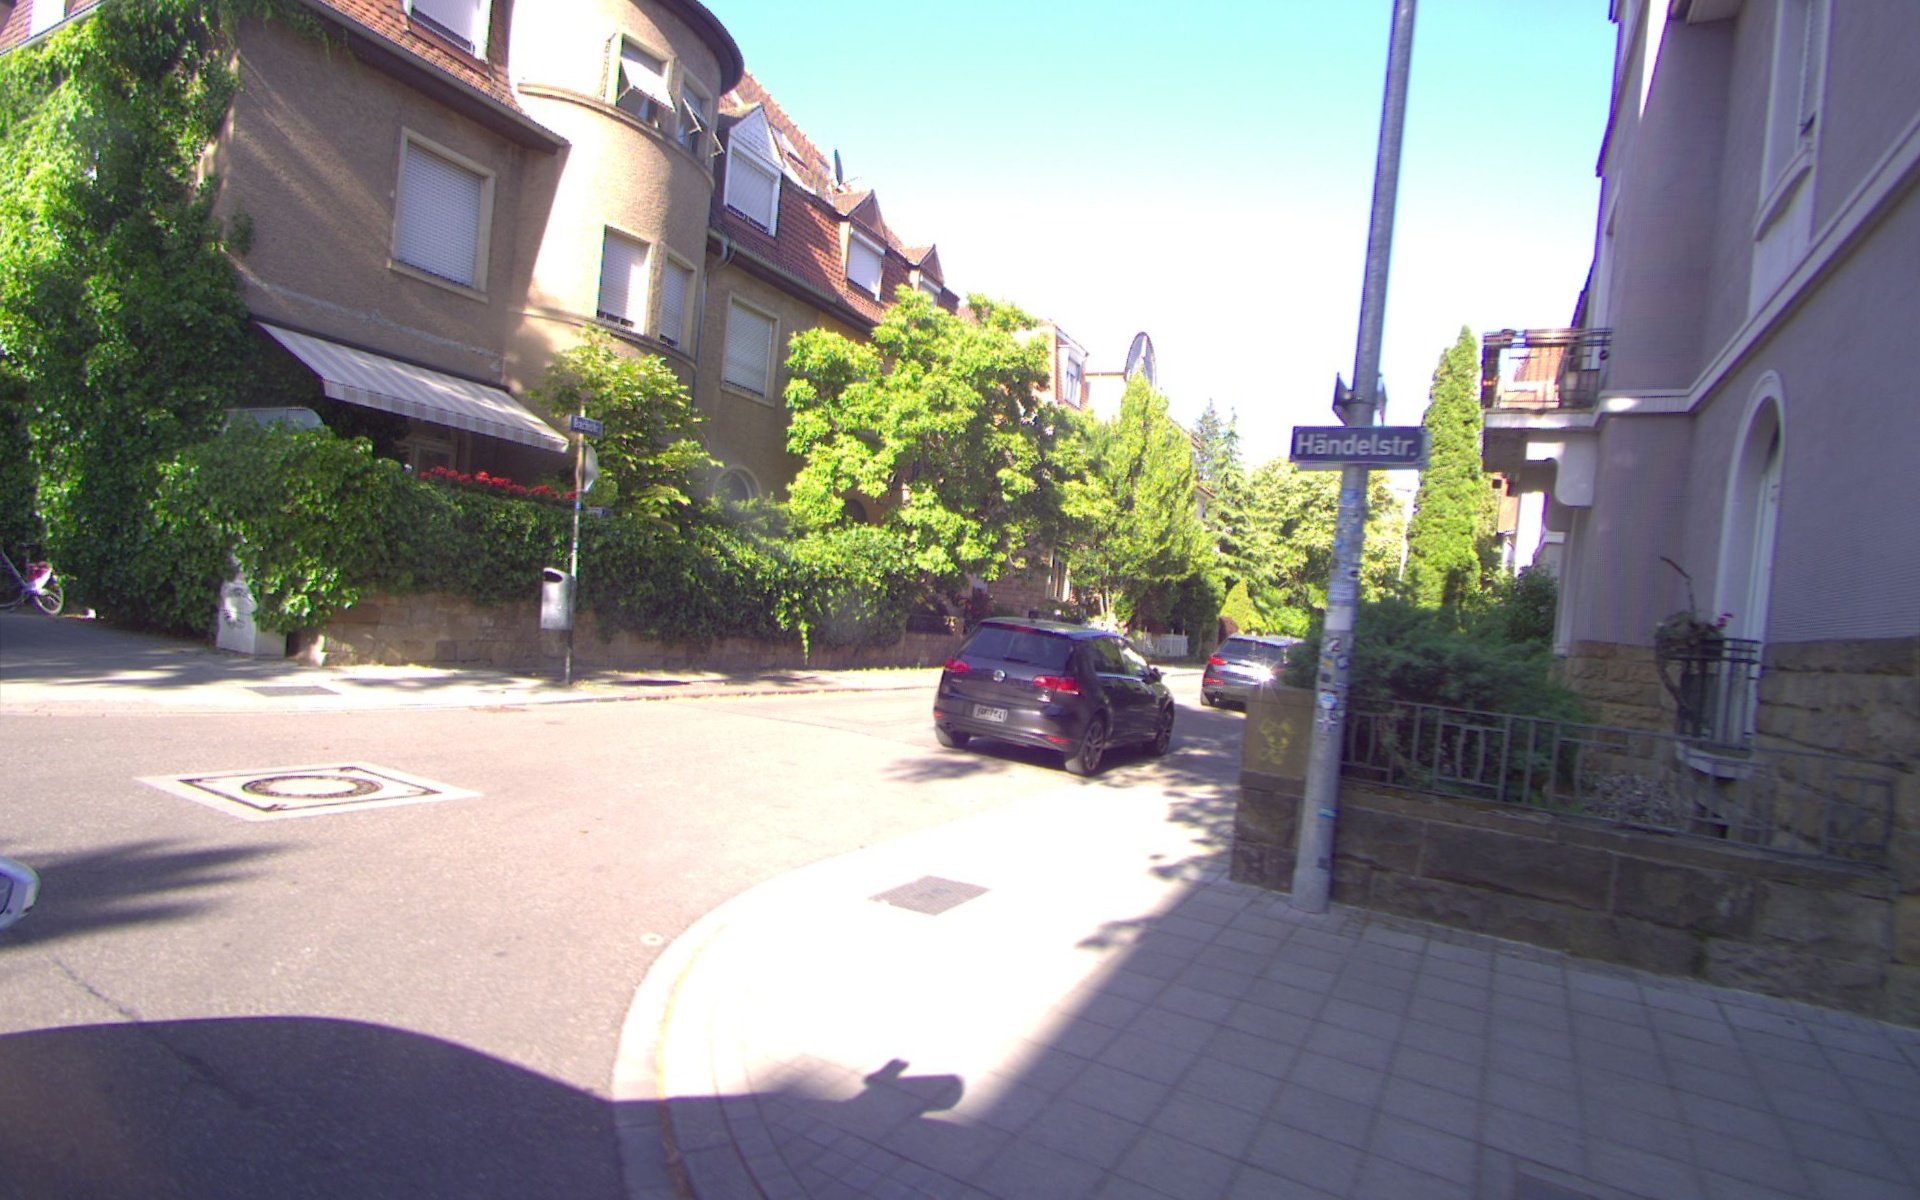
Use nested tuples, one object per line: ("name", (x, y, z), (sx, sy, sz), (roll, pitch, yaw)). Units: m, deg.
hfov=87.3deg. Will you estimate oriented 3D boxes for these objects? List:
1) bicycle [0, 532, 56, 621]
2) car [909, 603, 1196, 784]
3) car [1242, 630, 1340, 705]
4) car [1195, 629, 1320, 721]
("bicycle", (-12.640, -0.365, 13.074), (2.330, 1.037, 0.588), (6, 1, 30))
("car", (1.244, 0.987, 11.454), (1.725, 1.464, 3.995), (8, 1, 27))
("car", (8.708, 1.743, 26.276), (1.672, 1.607, 3.994), (7, 0, 27))
("car", (6.442, 1.556, 21.509), (1.672, 1.554, 3.994), (8, 1, 27))
